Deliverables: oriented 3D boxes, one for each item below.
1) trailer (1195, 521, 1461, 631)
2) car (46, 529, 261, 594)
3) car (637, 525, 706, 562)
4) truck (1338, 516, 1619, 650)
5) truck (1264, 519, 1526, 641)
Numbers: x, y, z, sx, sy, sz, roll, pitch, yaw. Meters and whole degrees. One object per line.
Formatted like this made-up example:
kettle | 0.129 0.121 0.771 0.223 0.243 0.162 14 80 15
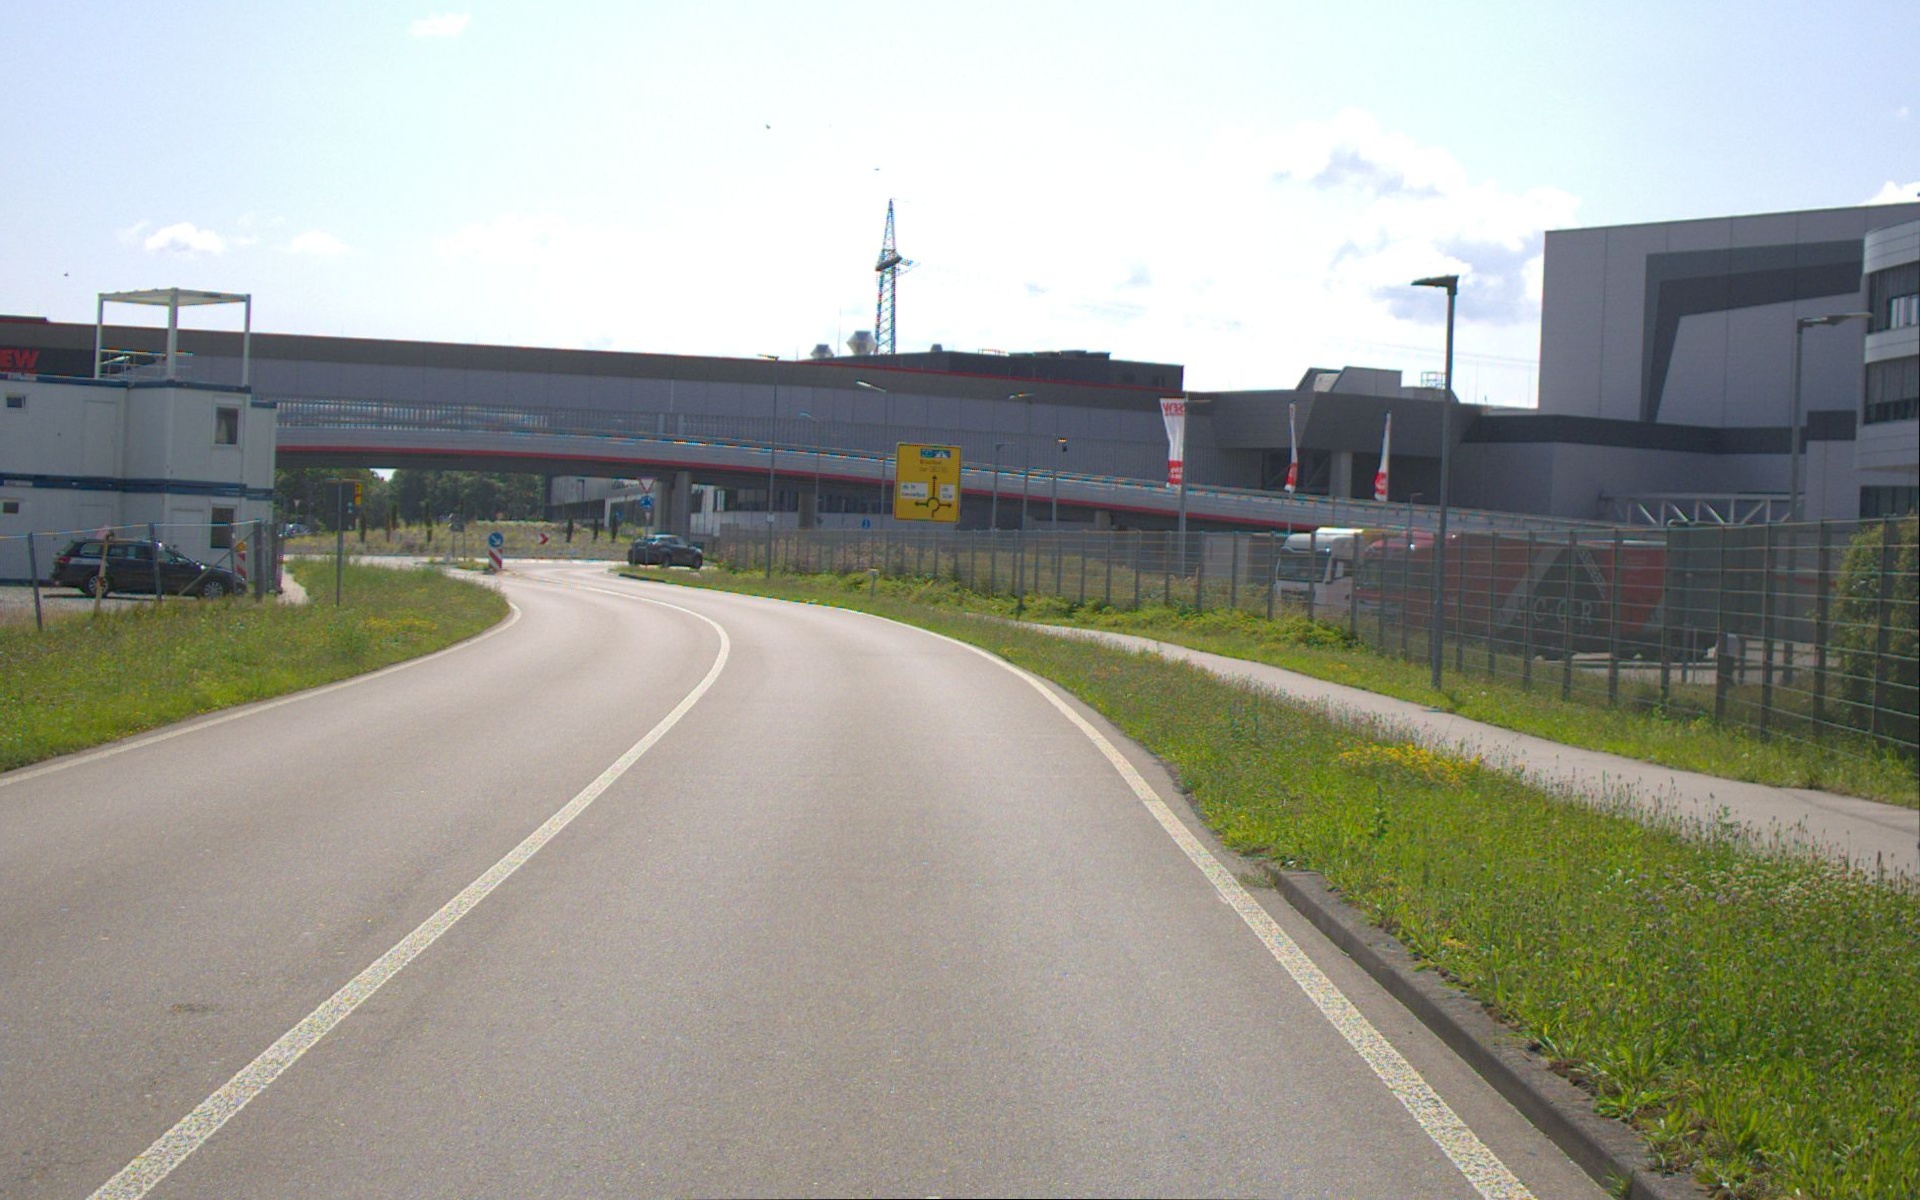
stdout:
trailer | 15.690 -0.961 145.146 14.025 4.423 2.765 1 1 -44
car | -20.082 -0.960 85.571 4.967 1.412 2.001 2 1 -20
car | -12.674 -2.462 151.226 1.994 1.539 3.998 1 0 11
truck | 17.233 -0.510 113.478 10.944 4.242 3.027 1 1 -44
truck | 15.591 -0.666 122.491 10.943 4.158 2.821 1 1 -43
